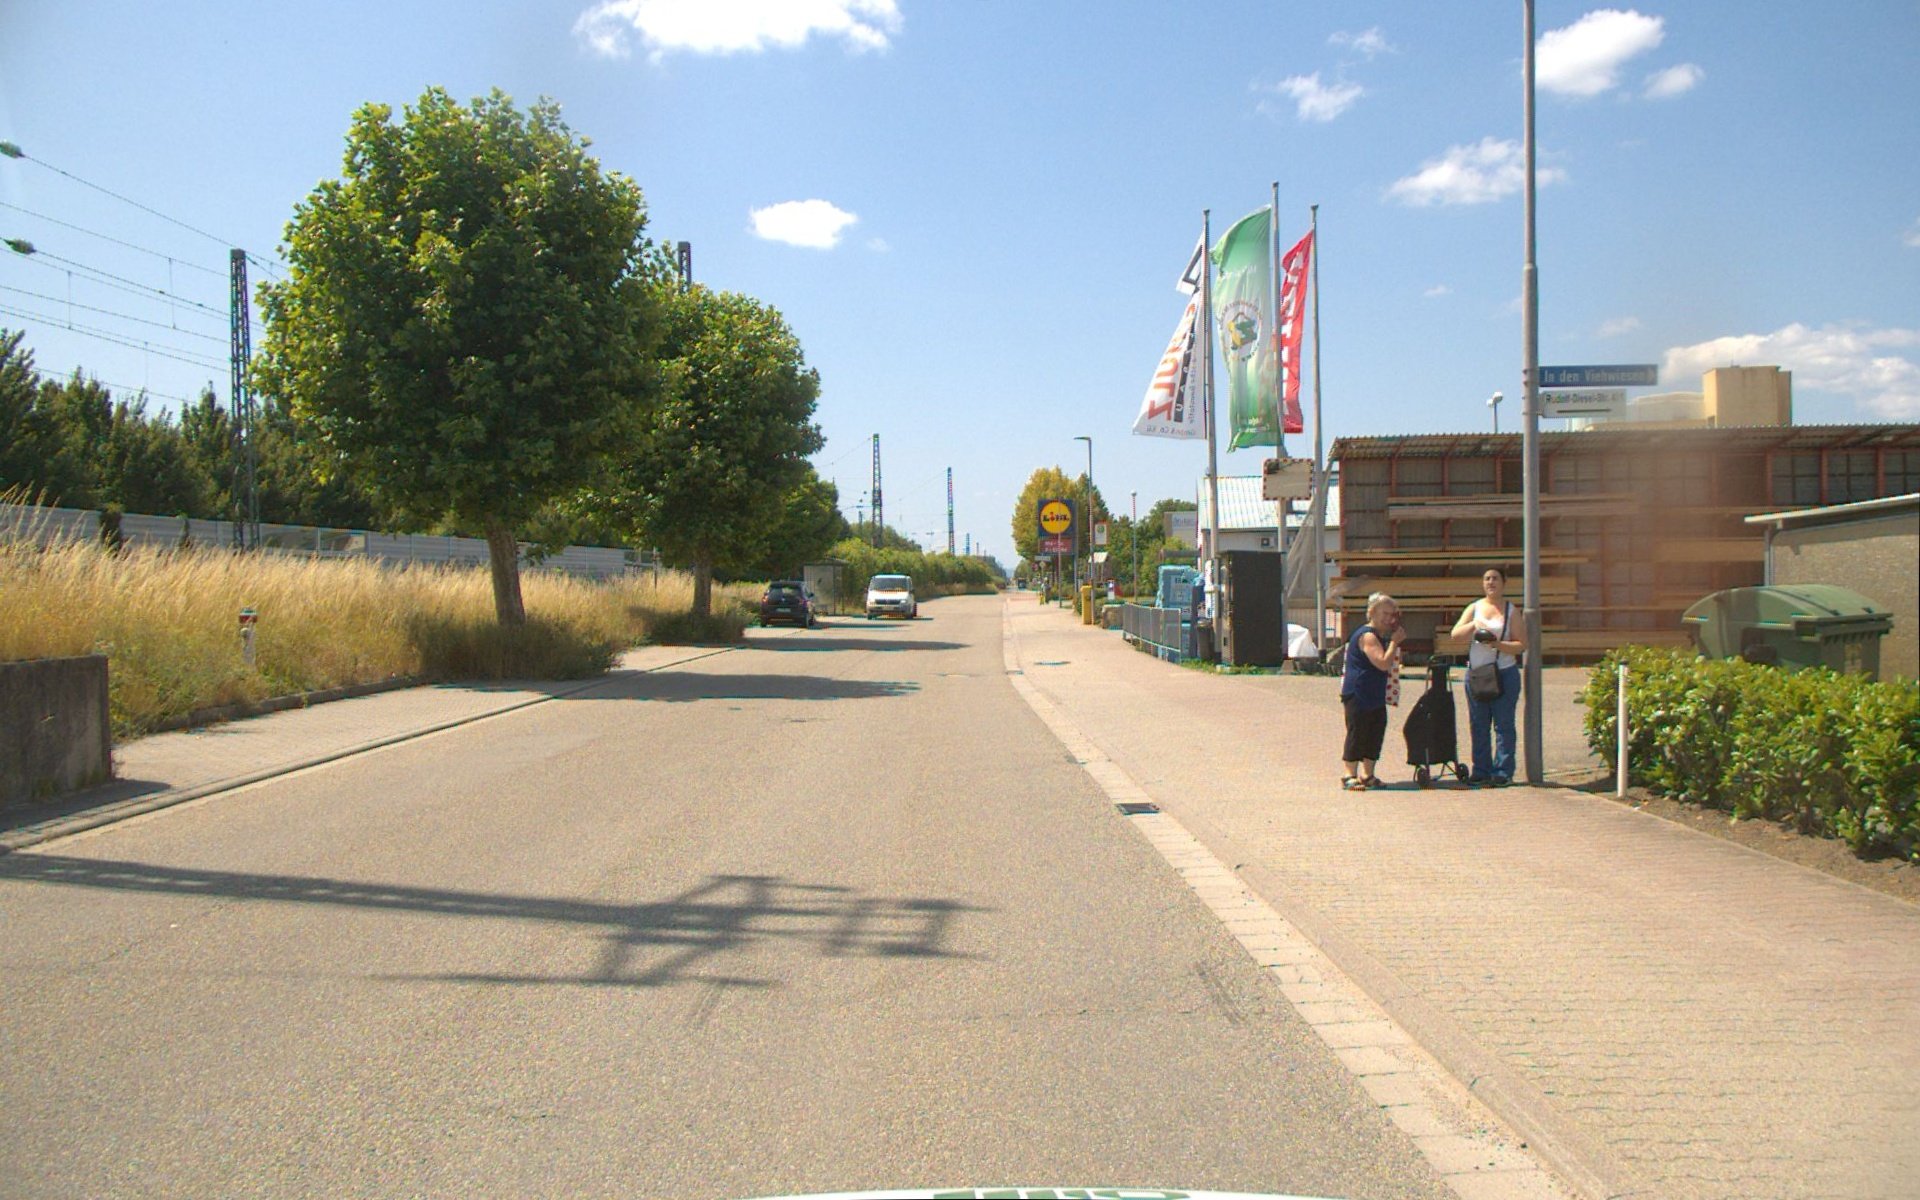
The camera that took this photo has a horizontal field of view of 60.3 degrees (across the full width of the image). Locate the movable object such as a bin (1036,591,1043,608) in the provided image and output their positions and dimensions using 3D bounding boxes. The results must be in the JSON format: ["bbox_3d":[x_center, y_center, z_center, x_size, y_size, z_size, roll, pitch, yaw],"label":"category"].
[{"bbox_3d":[4.904,-0.050,101.559,0.367,1.048,0.499,-2,0,-2],"label":"movable object such as a bin"}]

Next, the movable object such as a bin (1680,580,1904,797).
[{"bbox_3d":[6.108,0.605,12.147,1.254,1.484,1.035,0,0,-38],"label":"movable object such as a bin"}]

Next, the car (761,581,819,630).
[{"bbox_3d":[-5.945,0.172,58.009,1.706,1.624,3.579,0,1,-1],"label":"car"}]

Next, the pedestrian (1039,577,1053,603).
[{"bbox_3d":[5.306,-0.617,101.946,0.746,1.629,1.210,-1,1,-1],"label":"pedestrian"}]

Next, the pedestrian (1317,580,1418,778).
[{"bbox_3d":[3.040,0.586,12.384,0.554,1.430,0.584,-2,-2,-1],"label":"pedestrian"}]

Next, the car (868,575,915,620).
[{"bbox_3d":[-2.900,-0.121,70.956,1.800,1.890,4.484,0,0,0],"label":"car"}]

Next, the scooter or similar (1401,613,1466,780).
[{"bbox_3d":[3.523,0.713,12.328,0.327,1.219,0.397,-2,-2,0],"label":"scooter or similar"}]

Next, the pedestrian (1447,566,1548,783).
[{"bbox_3d":[3.994,0.546,12.308,0.524,1.567,0.510,-1,-2,-2],"label":"pedestrian"}]
